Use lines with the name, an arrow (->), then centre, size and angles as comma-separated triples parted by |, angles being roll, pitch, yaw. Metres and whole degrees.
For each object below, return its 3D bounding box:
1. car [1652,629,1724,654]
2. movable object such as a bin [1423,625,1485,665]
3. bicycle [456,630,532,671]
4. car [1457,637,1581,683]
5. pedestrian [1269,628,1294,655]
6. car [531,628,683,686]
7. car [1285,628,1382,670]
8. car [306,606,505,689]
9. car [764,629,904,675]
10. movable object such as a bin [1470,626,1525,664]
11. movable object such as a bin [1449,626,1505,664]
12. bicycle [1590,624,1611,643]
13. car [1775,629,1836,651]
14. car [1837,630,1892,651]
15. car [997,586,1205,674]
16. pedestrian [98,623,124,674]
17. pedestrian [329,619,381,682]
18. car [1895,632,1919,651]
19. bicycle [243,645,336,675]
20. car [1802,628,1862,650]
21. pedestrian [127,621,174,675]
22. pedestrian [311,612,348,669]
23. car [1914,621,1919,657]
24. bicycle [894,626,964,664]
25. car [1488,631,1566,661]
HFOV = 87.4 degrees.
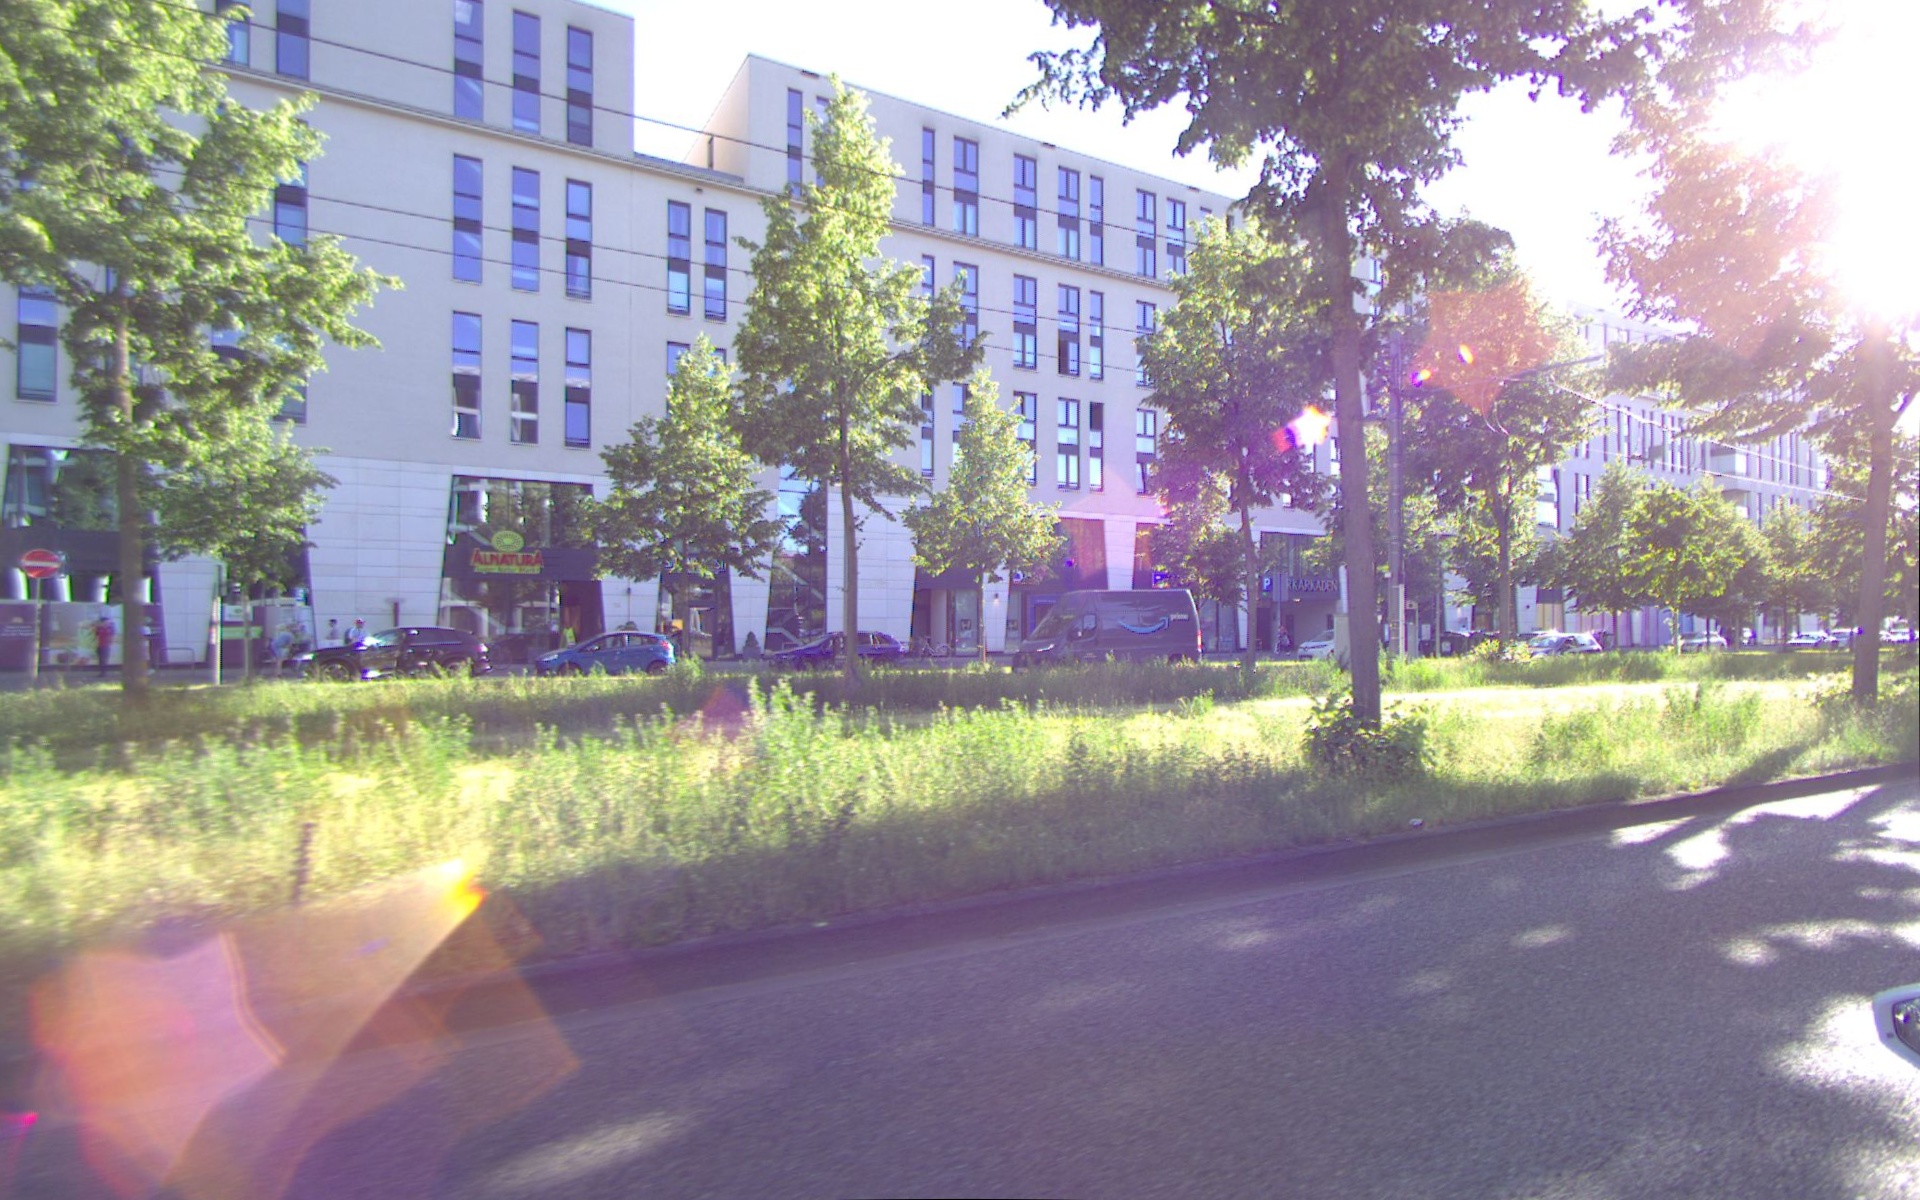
car -> 45.307, 2.571, 62.485 | 4.871, 1.460, 1.982 | 2, 0, -32
movable object such as a bin -> 24.326, 2.206, 49.448 | 1.988, 1.818, 1.959 | 1, 0, -32
bicycle -> -15.835, 1.723, 34.211 | 2.303, 1.342, 0.660 | 2, 0, -24
car -> 19.912, 2.088, 35.748 | 4.407, 1.460, 1.982 | 2, 0, -32
pedestrian -> 18.088, 2.333, 56.503 | 1.018, 1.487, 0.939 | 1, 0, -39
car -> -10.410, 1.637, 29.669 | 3.952, 1.593, 1.984 | 1, -1, -30
car -> 17.104, 2.210, 45.961 | 4.291, 1.752, 1.982 | 2, 0, -32
car -> -14.790, 1.234, 26.921 | 4.505, 2.040, 1.982 | 1, -1, -33
car -> -4.117, 1.666, 33.159 | 4.291, 1.432, 1.713 | 1, -2, -33
movable object such as a bin -> 27.539, 2.299, 51.513 | 1.538, 1.818, 1.960 | 1, 0, -31
movable object such as a bin -> 26.018, 2.255, 50.585 | 1.538, 1.818, 1.960 | 1, 0, -31
bicycle -> 44.799, 2.362, 70.292 | 1.590, 1.298, 0.594 | 2, 0, -32
car -> 59.635, 2.802, 70.845 | 4.727, 1.460, 1.982 | 2, 0, -32
car -> 68.603, 3.077, 76.144 | 4.407, 1.460, 1.982 | 2, 0, -32
car -> 4.298, 0.874, 30.253 | 5.960, 2.413, 2.492 | 2, 0, -32
pedestrian -> -25.130, 1.441, 29.737 | 0.453, 1.479, 0.600 | 1, 0, -27
pedestrian -> -17.400, 1.439, 28.924 | 1.208, 1.766, 0.839 | 1, 0, -30
car -> 78.943, 3.419, 82.542 | 4.407, 1.460, 1.982 | 2, 0, -32
bicycle -> -20.853, 1.873, 31.289 | 2.300, 0.859, 0.661 | 2, 0, -20
car -> 63.714, 2.866, 73.360 | 4.404, 1.460, 1.984 | 2, 0, -30
pedestrian -> -24.401, 1.441, 30.286 | 0.951, 1.557, 0.654 | 1, 0, -26
pedestrian -> -21.126, 1.347, 33.684 | 0.951, 1.880, 0.654 | 1, 0, -26
car -> 56.622, 2.301, 57.313 | 3.949, 2.040, 1.986 | 2, 0, -27
bicycle -> -1.324, 1.932, 42.849 | 2.996, 1.566, 0.615 | 2, 0, -28
car -> 30.241, 2.450, 53.529 | 3.975, 1.460, 1.982 | 2, 0, -32
